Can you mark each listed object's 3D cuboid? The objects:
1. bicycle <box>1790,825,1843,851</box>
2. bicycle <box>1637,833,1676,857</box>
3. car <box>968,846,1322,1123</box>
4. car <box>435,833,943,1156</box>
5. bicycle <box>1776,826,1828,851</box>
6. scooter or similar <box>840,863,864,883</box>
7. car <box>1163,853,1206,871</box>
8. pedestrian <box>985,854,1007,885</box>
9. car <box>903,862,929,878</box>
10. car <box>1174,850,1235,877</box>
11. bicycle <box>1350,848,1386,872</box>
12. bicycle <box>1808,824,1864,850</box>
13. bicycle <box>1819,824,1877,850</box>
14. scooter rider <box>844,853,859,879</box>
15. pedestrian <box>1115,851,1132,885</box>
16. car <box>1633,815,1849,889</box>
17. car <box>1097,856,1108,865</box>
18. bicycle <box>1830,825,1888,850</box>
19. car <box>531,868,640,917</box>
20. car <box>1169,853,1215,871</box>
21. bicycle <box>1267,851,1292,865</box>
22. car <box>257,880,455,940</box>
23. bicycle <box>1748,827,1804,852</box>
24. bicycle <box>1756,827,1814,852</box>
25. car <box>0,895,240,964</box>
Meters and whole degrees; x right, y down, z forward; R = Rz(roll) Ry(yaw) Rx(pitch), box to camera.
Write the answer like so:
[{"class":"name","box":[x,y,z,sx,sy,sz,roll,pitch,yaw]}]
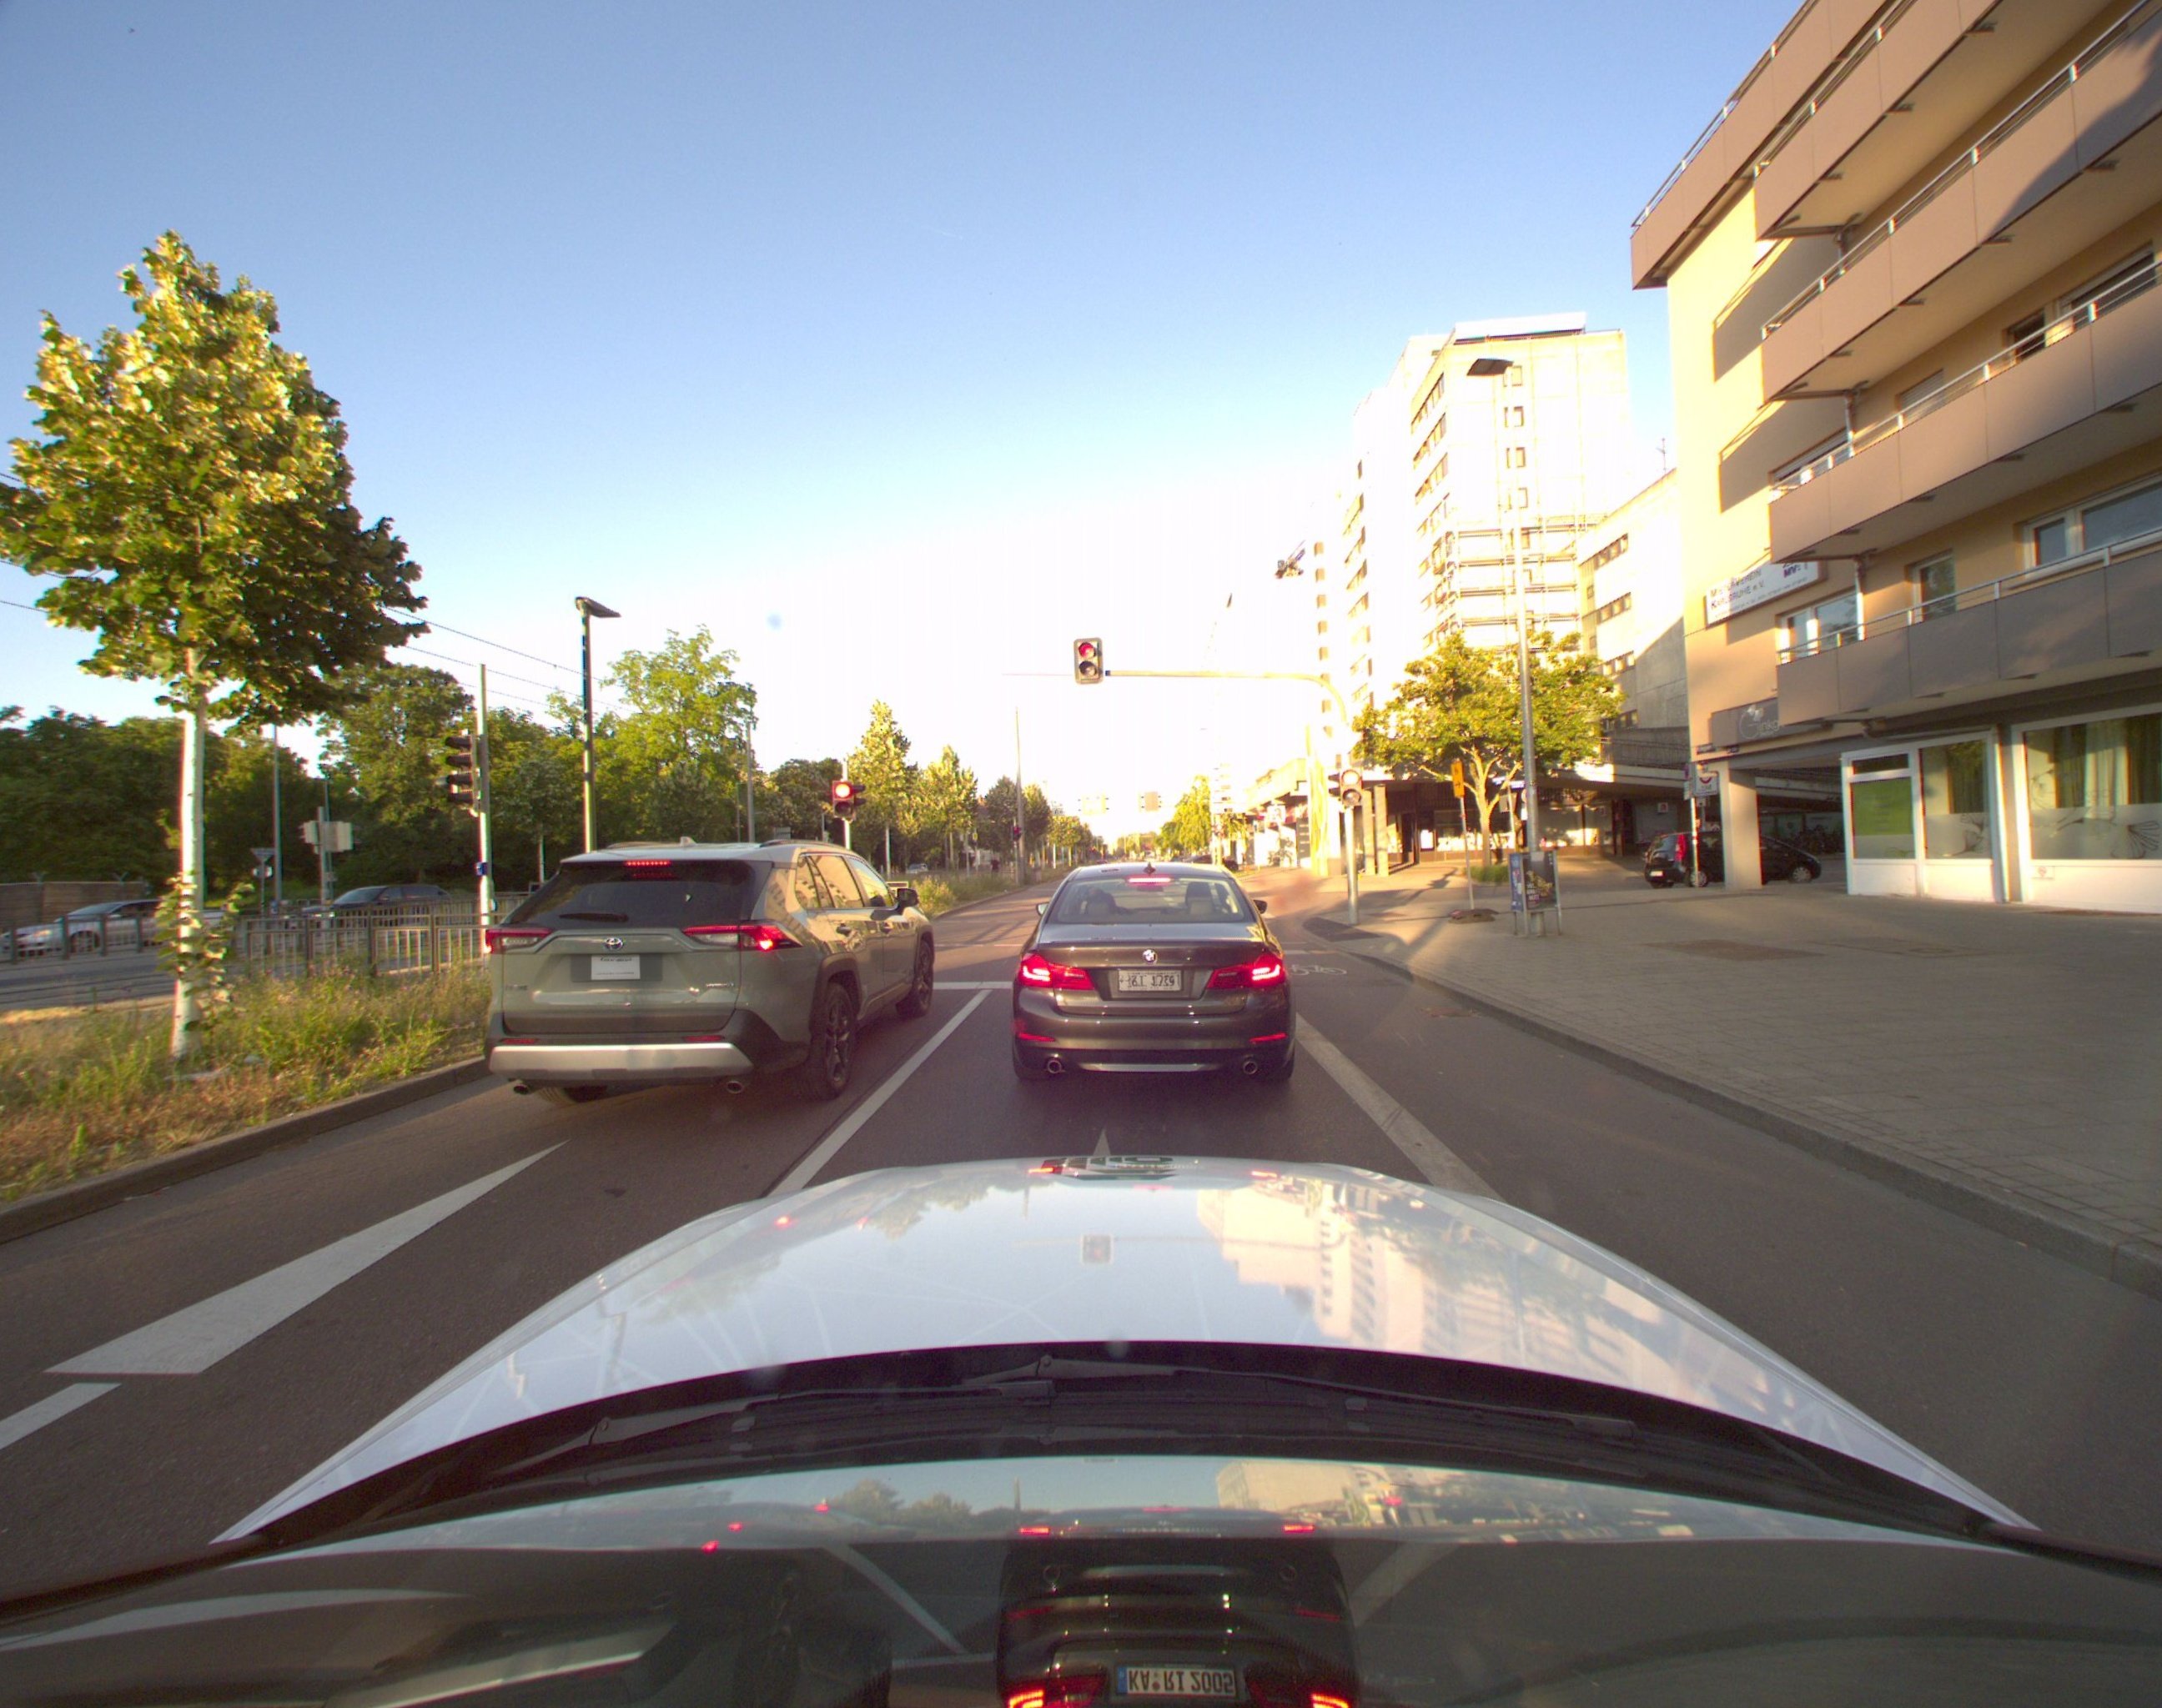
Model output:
[{"class":"bicycle","box":[33.453,-0.713,37.074,0.579,1.075,1.976,1,-1,-1]},{"class":"bicycle","box":[26.977,-0.401,38.219,0.578,1.075,1.980,1,-1,5]},{"class":"car","box":[0.516,0.709,6.763,1.923,1.481,4.528,-1,1,4]},{"class":"car","box":[-2.408,0.700,6.398,1.848,1.658,4.269,-1,1,1]},{"class":"bicycle","box":[32.893,-0.678,37.172,0.579,1.075,1.976,1,-1,-1]},{"class":"scooter or similar","box":[-13.921,1.135,49.430,1.334,1.153,0.510,-2,-1,-22]},{"class":"car","box":[10.808,0.806,85.068,4.284,1.658,1.841,-2,1,-33]},{"class":"pedestrian","box":[-4.557,0.834,43.515,0.815,1.586,0.828,-2,-1,-35]},{"class":"car","box":[-17.641,1.698,87.419,1.792,1.481,3.786,-2,0,3]},{"class":"car","box":[8.596,0.631,56.490,4.291,1.658,1.839,-2,1,-40]},{"class":"bicycle","box":[14.479,0.301,41.139,0.690,1.149,2.012,1,-1,-16]},{"class":"bicycle","box":[34.041,-0.763,36.750,0.579,1.075,1.974,1,-1,-4]},{"class":"bicycle","box":[34.656,-0.763,36.819,0.580,1.075,1.971,1,-1,-9]},{"class":"scooter rider","box":[-13.942,0.743,49.464,0.824,1.514,0.648,-2,-1,-22]},{"class":"pedestrian","box":[2.238,0.735,43.213,0.832,1.712,0.648,-2,-1,1]},{"class":"car","box":[17.172,-0.006,21.379,4.020,1.585,1.708,-4,-4,6]},{"class":"car","box":[3.923,1.228,147.070,1.971,1.433,4.846,-1,1,2]},{"class":"bicycle","box":[35.284,-0.740,36.974,0.580,1.075,1.971,1,-1,-9]},{"class":"car","box":[-25.214,1.891,41.684,1.980,2.168,4.767,-1,1,12]},{"class":"car","box":[10.800,0.750,78.934,4.285,1.658,1.841,-2,1,-34]},{"class":"bicycle","box":[16.763,0.364,68.731,2.005,1.149,0.692,0,-1,8]},{"class":"car","box":[-22.721,1.699,25.821,1.985,1.481,4.527,-1,1,4]},{"class":"bicycle","box":[31.818,-0.646,37.332,0.582,1.075,1.966,1,-1,-17]},{"class":"bicycle","box":[32.295,-0.662,37.389,0.583,1.075,1.963,1,-1,-21]},{"class":"car","box":[-27.780,2.084,23.573,1.985,1.481,4.527,-1,1,4]}]
